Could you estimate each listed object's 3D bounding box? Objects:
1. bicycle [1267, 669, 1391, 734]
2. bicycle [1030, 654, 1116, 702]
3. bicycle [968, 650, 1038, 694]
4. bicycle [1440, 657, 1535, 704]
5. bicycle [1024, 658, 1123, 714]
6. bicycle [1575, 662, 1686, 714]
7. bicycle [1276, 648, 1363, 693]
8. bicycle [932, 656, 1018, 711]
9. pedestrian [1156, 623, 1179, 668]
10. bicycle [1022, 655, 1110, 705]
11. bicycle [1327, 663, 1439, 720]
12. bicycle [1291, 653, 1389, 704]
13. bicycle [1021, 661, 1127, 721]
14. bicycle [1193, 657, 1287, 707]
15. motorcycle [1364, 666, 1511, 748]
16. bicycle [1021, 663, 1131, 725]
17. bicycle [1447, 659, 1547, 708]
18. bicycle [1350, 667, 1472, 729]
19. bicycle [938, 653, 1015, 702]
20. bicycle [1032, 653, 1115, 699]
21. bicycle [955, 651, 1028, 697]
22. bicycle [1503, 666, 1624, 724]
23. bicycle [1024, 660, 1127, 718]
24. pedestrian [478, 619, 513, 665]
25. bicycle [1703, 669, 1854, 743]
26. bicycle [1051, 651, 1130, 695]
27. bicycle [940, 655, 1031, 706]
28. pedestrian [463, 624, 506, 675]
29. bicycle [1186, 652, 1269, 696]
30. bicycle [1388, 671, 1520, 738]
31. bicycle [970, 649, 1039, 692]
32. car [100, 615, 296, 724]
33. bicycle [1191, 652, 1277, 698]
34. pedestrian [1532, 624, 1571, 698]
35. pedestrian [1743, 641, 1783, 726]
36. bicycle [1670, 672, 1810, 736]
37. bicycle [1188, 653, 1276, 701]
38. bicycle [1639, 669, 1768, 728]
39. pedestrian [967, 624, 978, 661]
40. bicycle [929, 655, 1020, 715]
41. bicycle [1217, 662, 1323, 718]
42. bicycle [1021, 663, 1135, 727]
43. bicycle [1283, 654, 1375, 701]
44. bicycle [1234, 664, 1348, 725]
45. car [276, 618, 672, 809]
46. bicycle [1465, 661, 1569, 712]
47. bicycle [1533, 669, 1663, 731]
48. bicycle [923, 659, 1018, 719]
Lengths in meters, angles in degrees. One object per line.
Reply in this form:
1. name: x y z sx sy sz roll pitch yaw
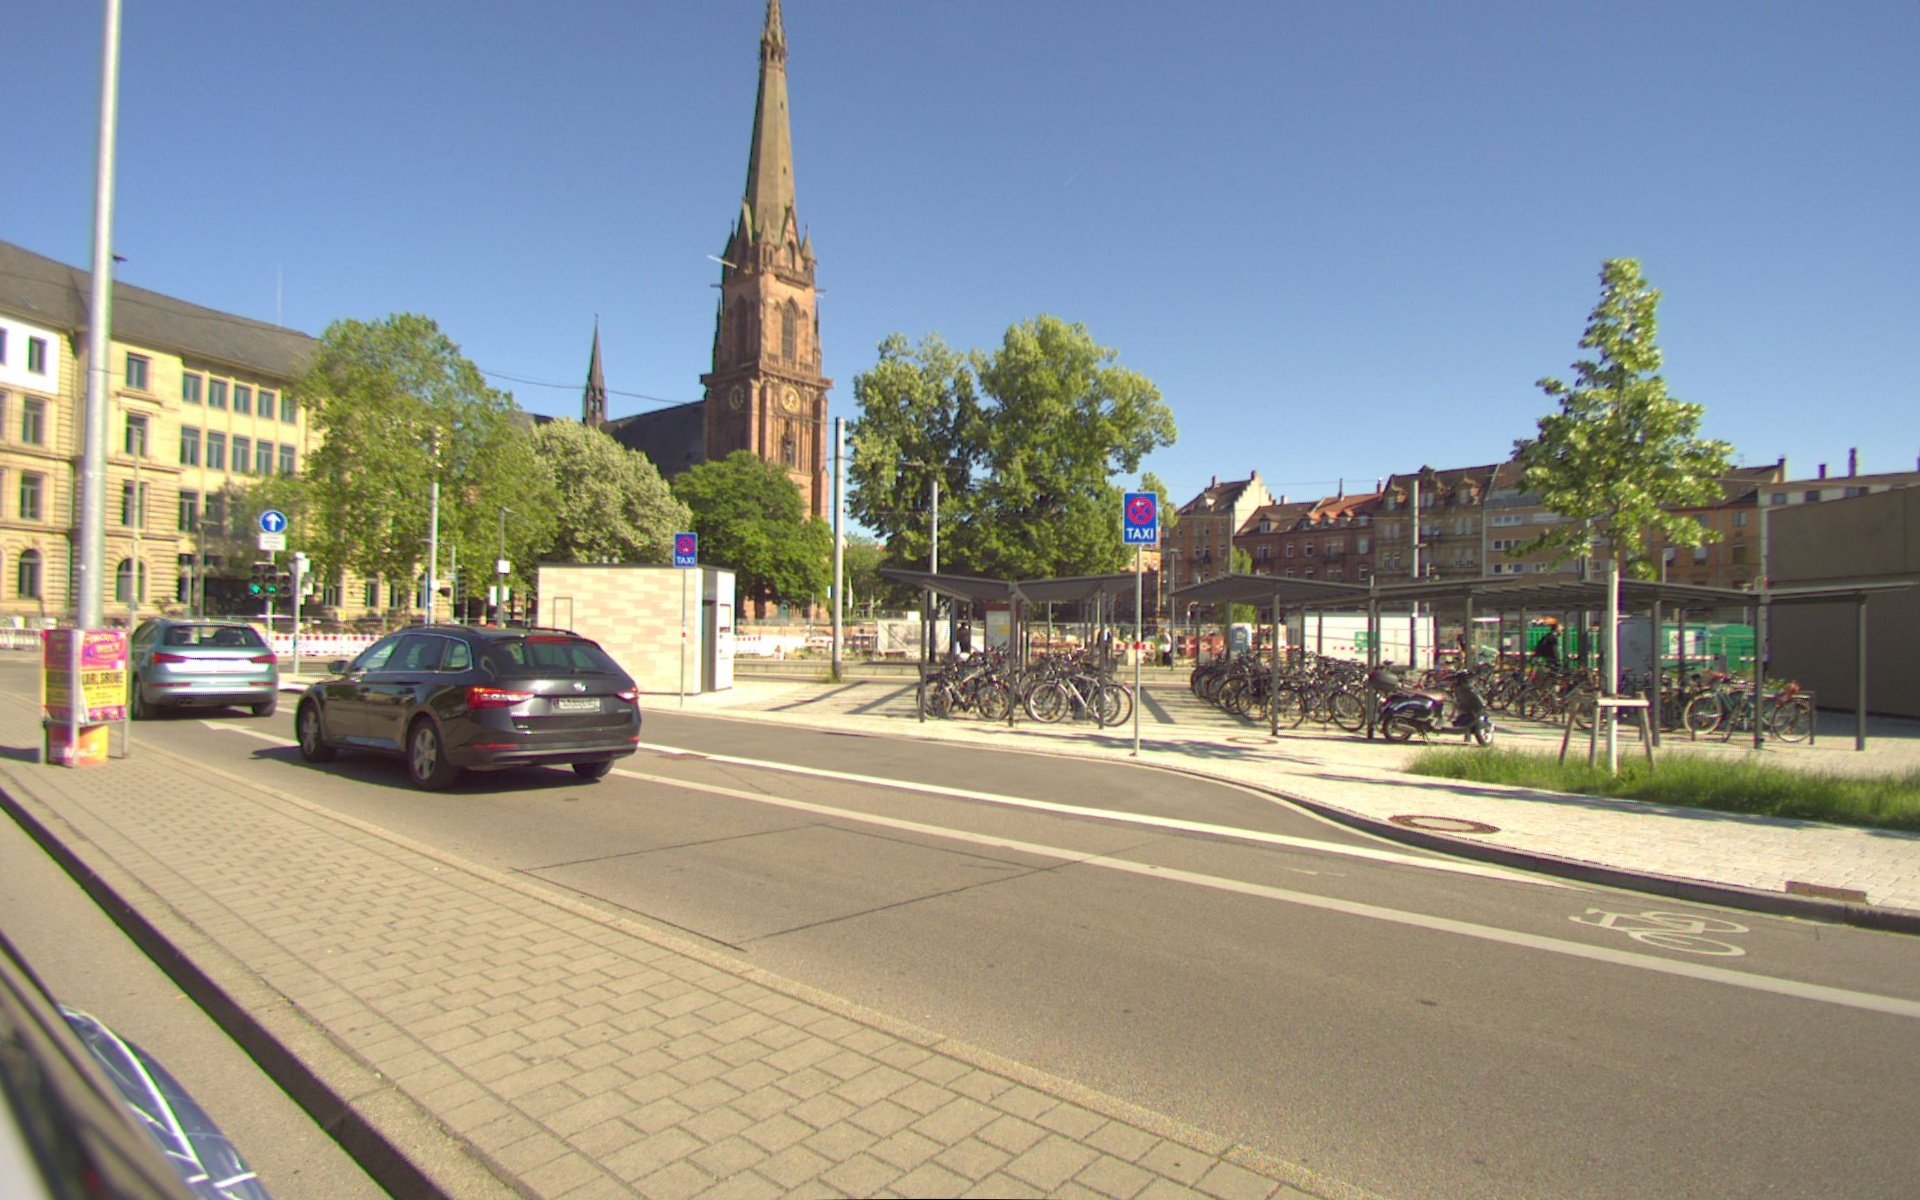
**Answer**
1. bicycle: 6.118 1.680 16.838 1.882 1.016 0.456 0 -2 8
2. bicycle: 2.507 1.724 22.532 1.882 1.016 0.456 0 -2 8
3. bicycle: 1.038 1.713 24.224 1.652 1.016 0.456 0 -2 8
4. bicycle: 12.075 1.834 23.193 1.882 1.016 0.456 0 -2 8
5. bicycle: 2.193 1.657 19.583 1.882 1.016 0.456 0 -2 8
6. bicycle: 13.870 1.816 20.970 1.882 1.016 0.456 0 -2 8
7. bicycle: 8.483 1.650 23.909 1.882 1.016 0.456 0 -2 8
8. bicycle: 0.302 1.628 19.886 1.652 1.016 0.456 0 -2 8
9. pedestrian: 8.357 1.835 40.802 0.792 1.793 0.977 0 -2 3
10. bicycle: 2.294 1.720 21.919 1.882 1.016 0.456 0 -2 8
11. bicycle: 7.915 1.710 18.994 1.882 1.016 0.456 0 -2 8
12. bicycle: 8.053 1.659 21.518 1.882 1.016 0.456 0 -2 8
13. bicycle: 2.051 1.631 18.259 1.882 1.016 0.456 0 -2 8
14. bicycle: 5.962 1.745 21.608 1.882 1.016 0.456 0 -2 8
15. motorcycle: 7.158 1.601 15.224 1.924 1.160 0.516 0 -2 6
16. bicycle: 2.016 1.622 17.672 1.882 1.016 0.456 0 -2 8
17. bicycle: 11.780 1.822 22.242 1.882 1.016 0.456 0 -2 8
18. bicycle: 7.891 1.707 17.761 1.882 1.016 0.456 0 -2 8
19. bicycle: 0.368 1.689 22.222 1.652 1.016 0.456 0 -2 8
20. bicycle: 2.602 1.746 23.302 1.882 1.016 0.456 0 -2 8
21. bicycle: 0.743 1.708 23.480 1.652 1.016 0.456 0 -2 8
22. bicycle: 11.161 1.754 18.756 1.882 1.016 0.456 0 -2 8
23. bicycle: 2.134 1.644 18.742 1.882 1.016 0.456 0 -2 8
24. pedestrian: -18.205 1.642 39.644 0.802 1.793 0.965 -1 -2 40
25. bicycle: 13.079 1.683 16.205 1.882 1.106 0.456 0 -2 8
26. bicycle: 3.158 1.774 24.597 1.882 1.016 0.456 0 -2 8
27. bicycle: 0.540 1.673 21.224 1.882 1.016 0.456 0 -2 8
28. pedestrian: -17.048 1.760 36.287 1.130 1.793 0.965 -1 -2 40
29. bicycle: 6.390 1.760 24.224 1.882 1.016 0.456 0 -2 8
30. bicycle: 8.025 1.690 16.492 1.882 1.016 0.456 0 -2 8
31. bicycle: 1.103 1.727 24.940 1.652 1.016 0.456 0 -2 8
32. car: -12.563 1.062 16.586 4.241 1.554 1.835 -1 -4 44
33. bicycle: 6.362 1.730 23.565 1.882 1.016 0.456 0 -2 8
34. pedestrian: 15.100 1.540 25.862 0.676 1.848 0.564 0 -2 8
35. pedestrian: 19.766 2.043 24.908 0.718 2.029 0.678 -1 -4 41
36. bicycle: 13.125 1.741 17.064 1.882 1.016 0.456 0 -2 8
37. bicycle: 6.145 1.736 22.941 1.882 1.016 0.456 0 -2 8
38. bicycle: 13.466 1.775 18.363 1.882 1.016 0.456 0 -2 8
39. pedestrian: 0.580 1.991 47.614 0.399 1.734 0.419 1 -2 -11
40. bicycle: 0.277 1.566 18.774 1.652 1.069 0.456 0 -2 8
41. bicycle: 5.894 1.706 19.321 1.882 1.016 0.456 0 -2 8
42. bicycle: 1.986 1.601 17.112 1.882 1.016 0.456 0 -2 8
43. bicycle: 8.312 1.733 22.816 1.882 1.016 0.456 0 -2 8
44. bicycle: 5.896 1.681 18.091 1.882 1.016 0.456 0 -2 8
45. car: -5.014 0.964 10.142 4.571 1.511 1.771 -1 -3 39
46. bicycle: 11.711 1.812 21.312 1.882 1.016 0.456 0 -2 8
47. bicycle: 11.098 1.730 17.640 1.882 1.016 0.456 0 -2 8
48. bicycle: 0.198 1.584 18.189 1.652 1.016 0.456 0 -2 8
